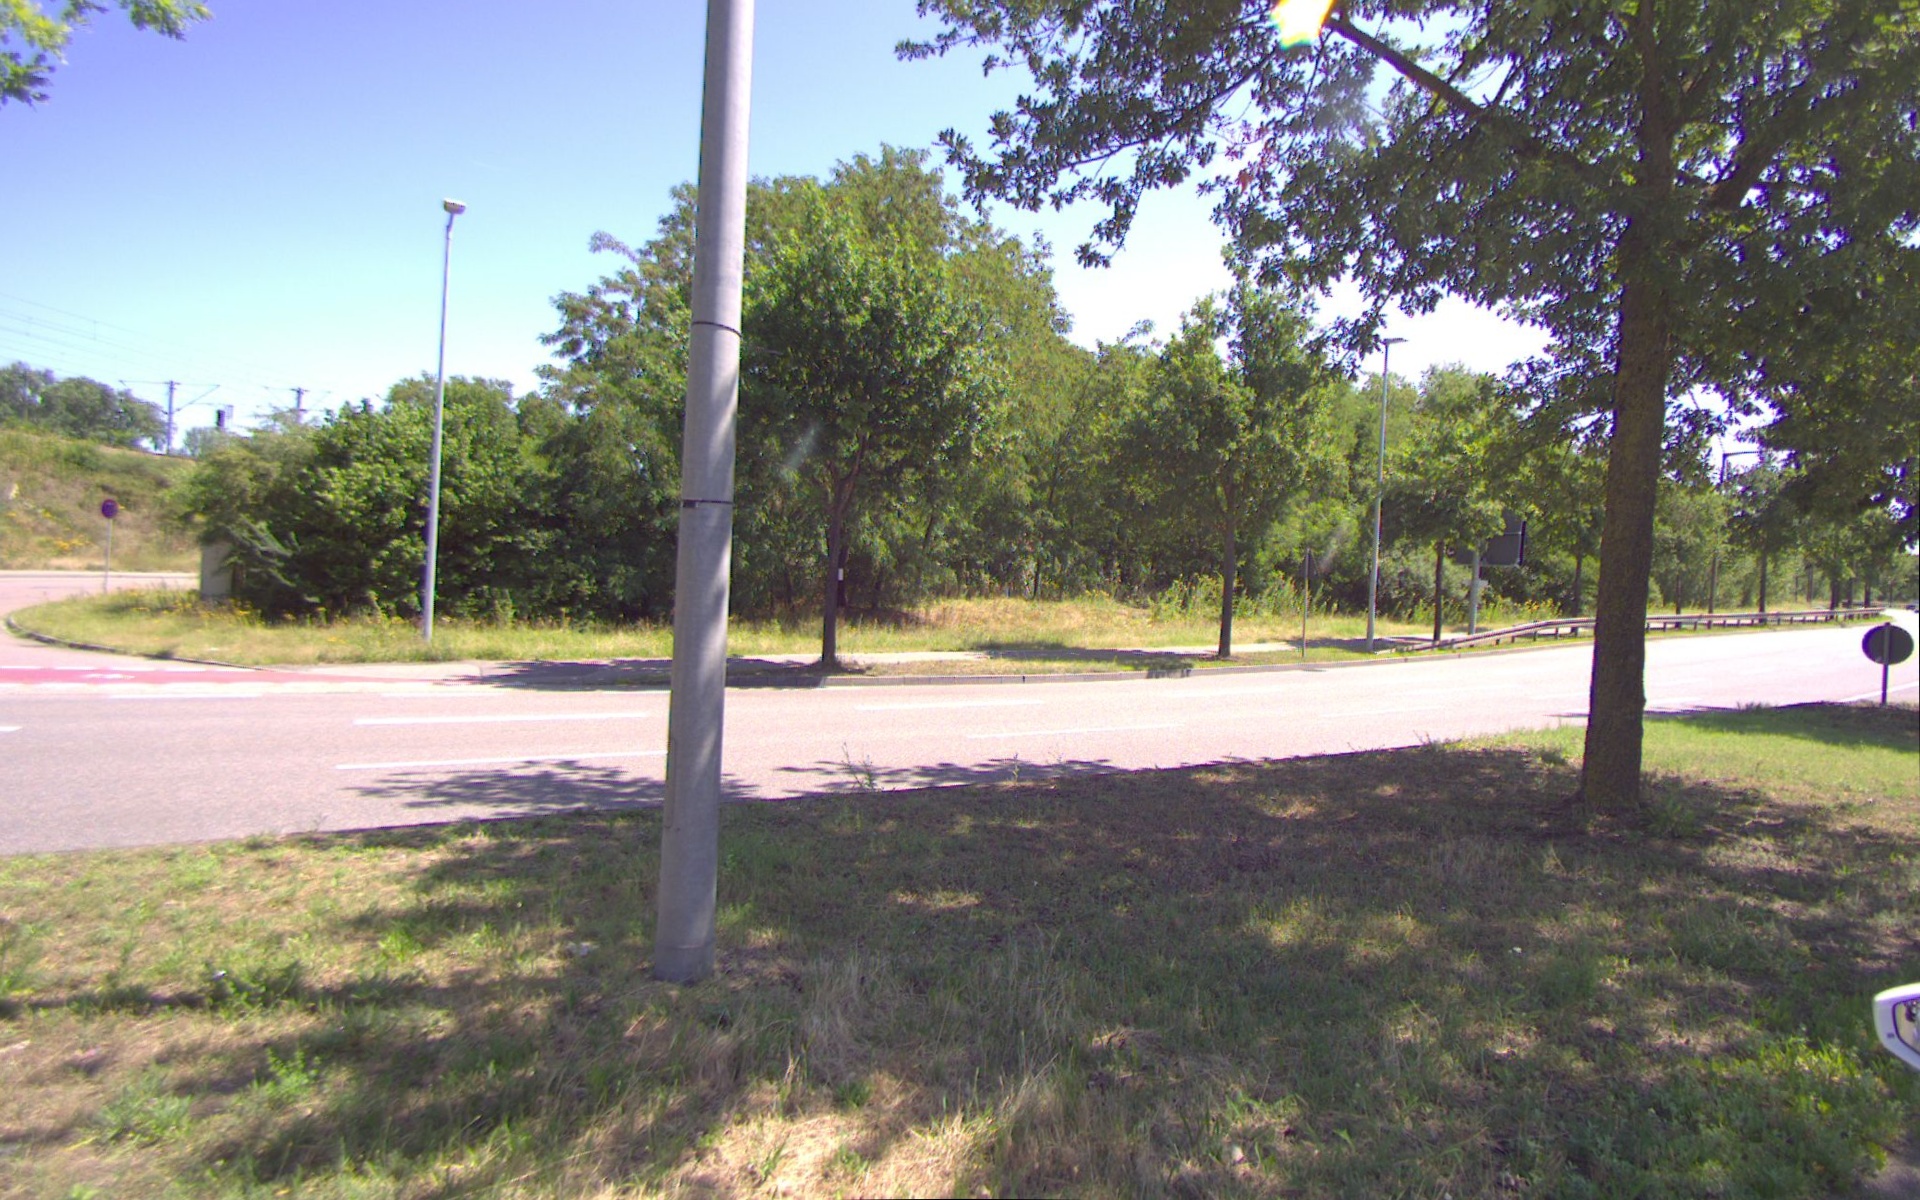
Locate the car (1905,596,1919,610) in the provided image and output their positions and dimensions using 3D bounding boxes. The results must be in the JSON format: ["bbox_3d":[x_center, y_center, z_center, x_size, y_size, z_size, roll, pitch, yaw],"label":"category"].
[{"bbox_3d":[97.288,0.327,102.210,3.614,1.331,1.442,3,0,-45],"label":"car"}]
